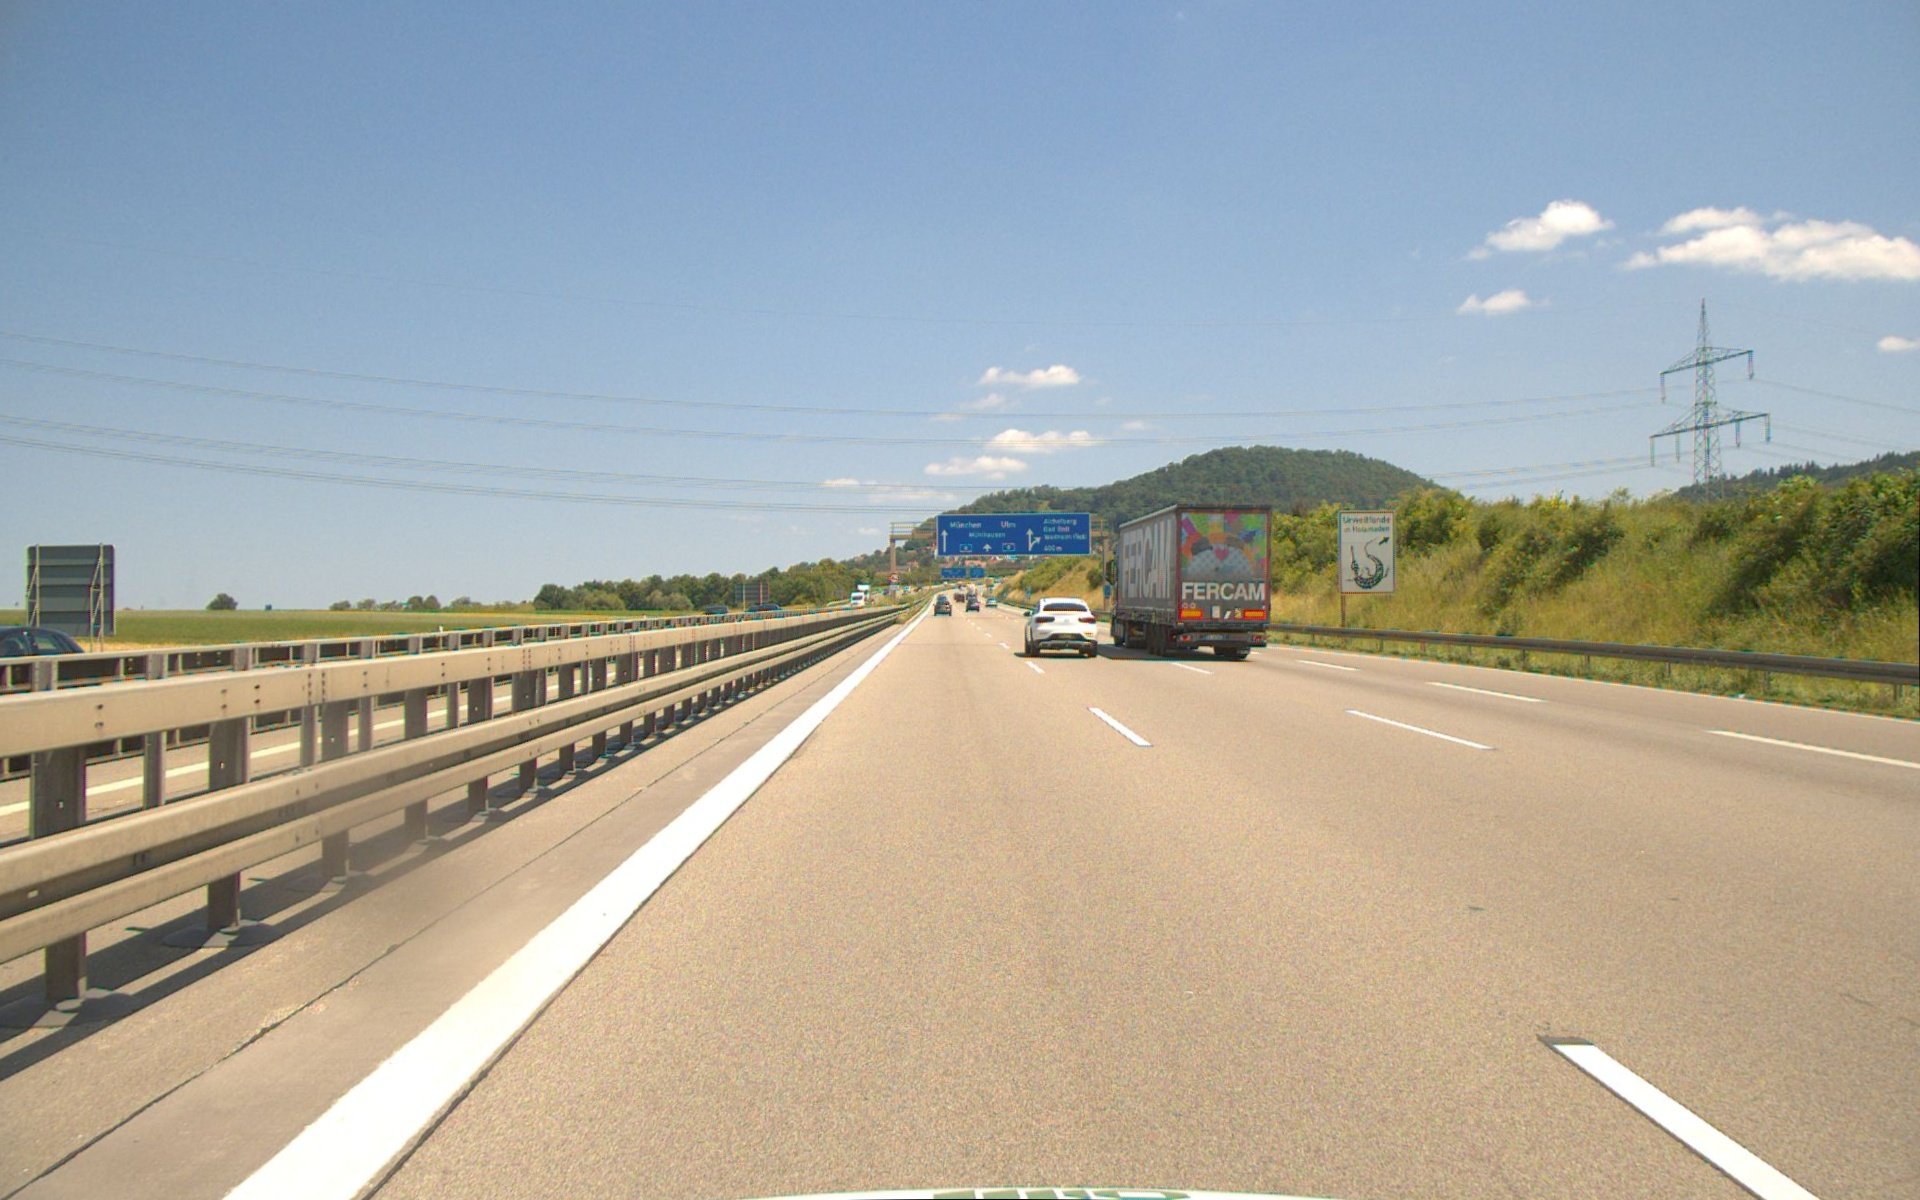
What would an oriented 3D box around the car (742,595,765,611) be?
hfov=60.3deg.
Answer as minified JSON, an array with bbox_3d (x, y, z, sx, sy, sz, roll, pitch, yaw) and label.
[{"bbox_3d":[-18.366,0.276,147.425,1.541,1.329,4.041,-1,0,-1],"label":"car"}]

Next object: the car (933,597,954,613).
[{"bbox_3d":[-1.554,0.472,157.674,1.953,1.413,4.000,1,0,0],"label":"car"}]

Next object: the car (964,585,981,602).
[{"bbox_3d":[1.515,-0.785,199.803,1.953,2.049,4.000,1,0,0],"label":"car"}]

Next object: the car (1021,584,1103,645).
[{"bbox_3d":[2.825,0.407,46.885,1.875,1.608,5.229,1,0,-1],"label":"car"}]

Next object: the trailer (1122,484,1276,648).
[{"bbox_3d":[6.788,-0.868,48.902,2.670,4.227,11.806,1,0,-1],"label":"trailer"}]

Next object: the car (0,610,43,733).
[{"bbox_3d":[-12.077,0.840,18.685,1.452,1.450,3.608,1,0,-1],"label":"car"}]

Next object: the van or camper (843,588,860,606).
[{"bbox_3d":[-16.219,-0.466,247.507,2.182,2.552,6.596,1,0,-1],"label":"van or camper"}]

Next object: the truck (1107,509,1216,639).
[{"bbox_3d":[6.691,-0.805,55.874,2.696,4.091,6.787,1,0,-1],"label":"truck"}]
